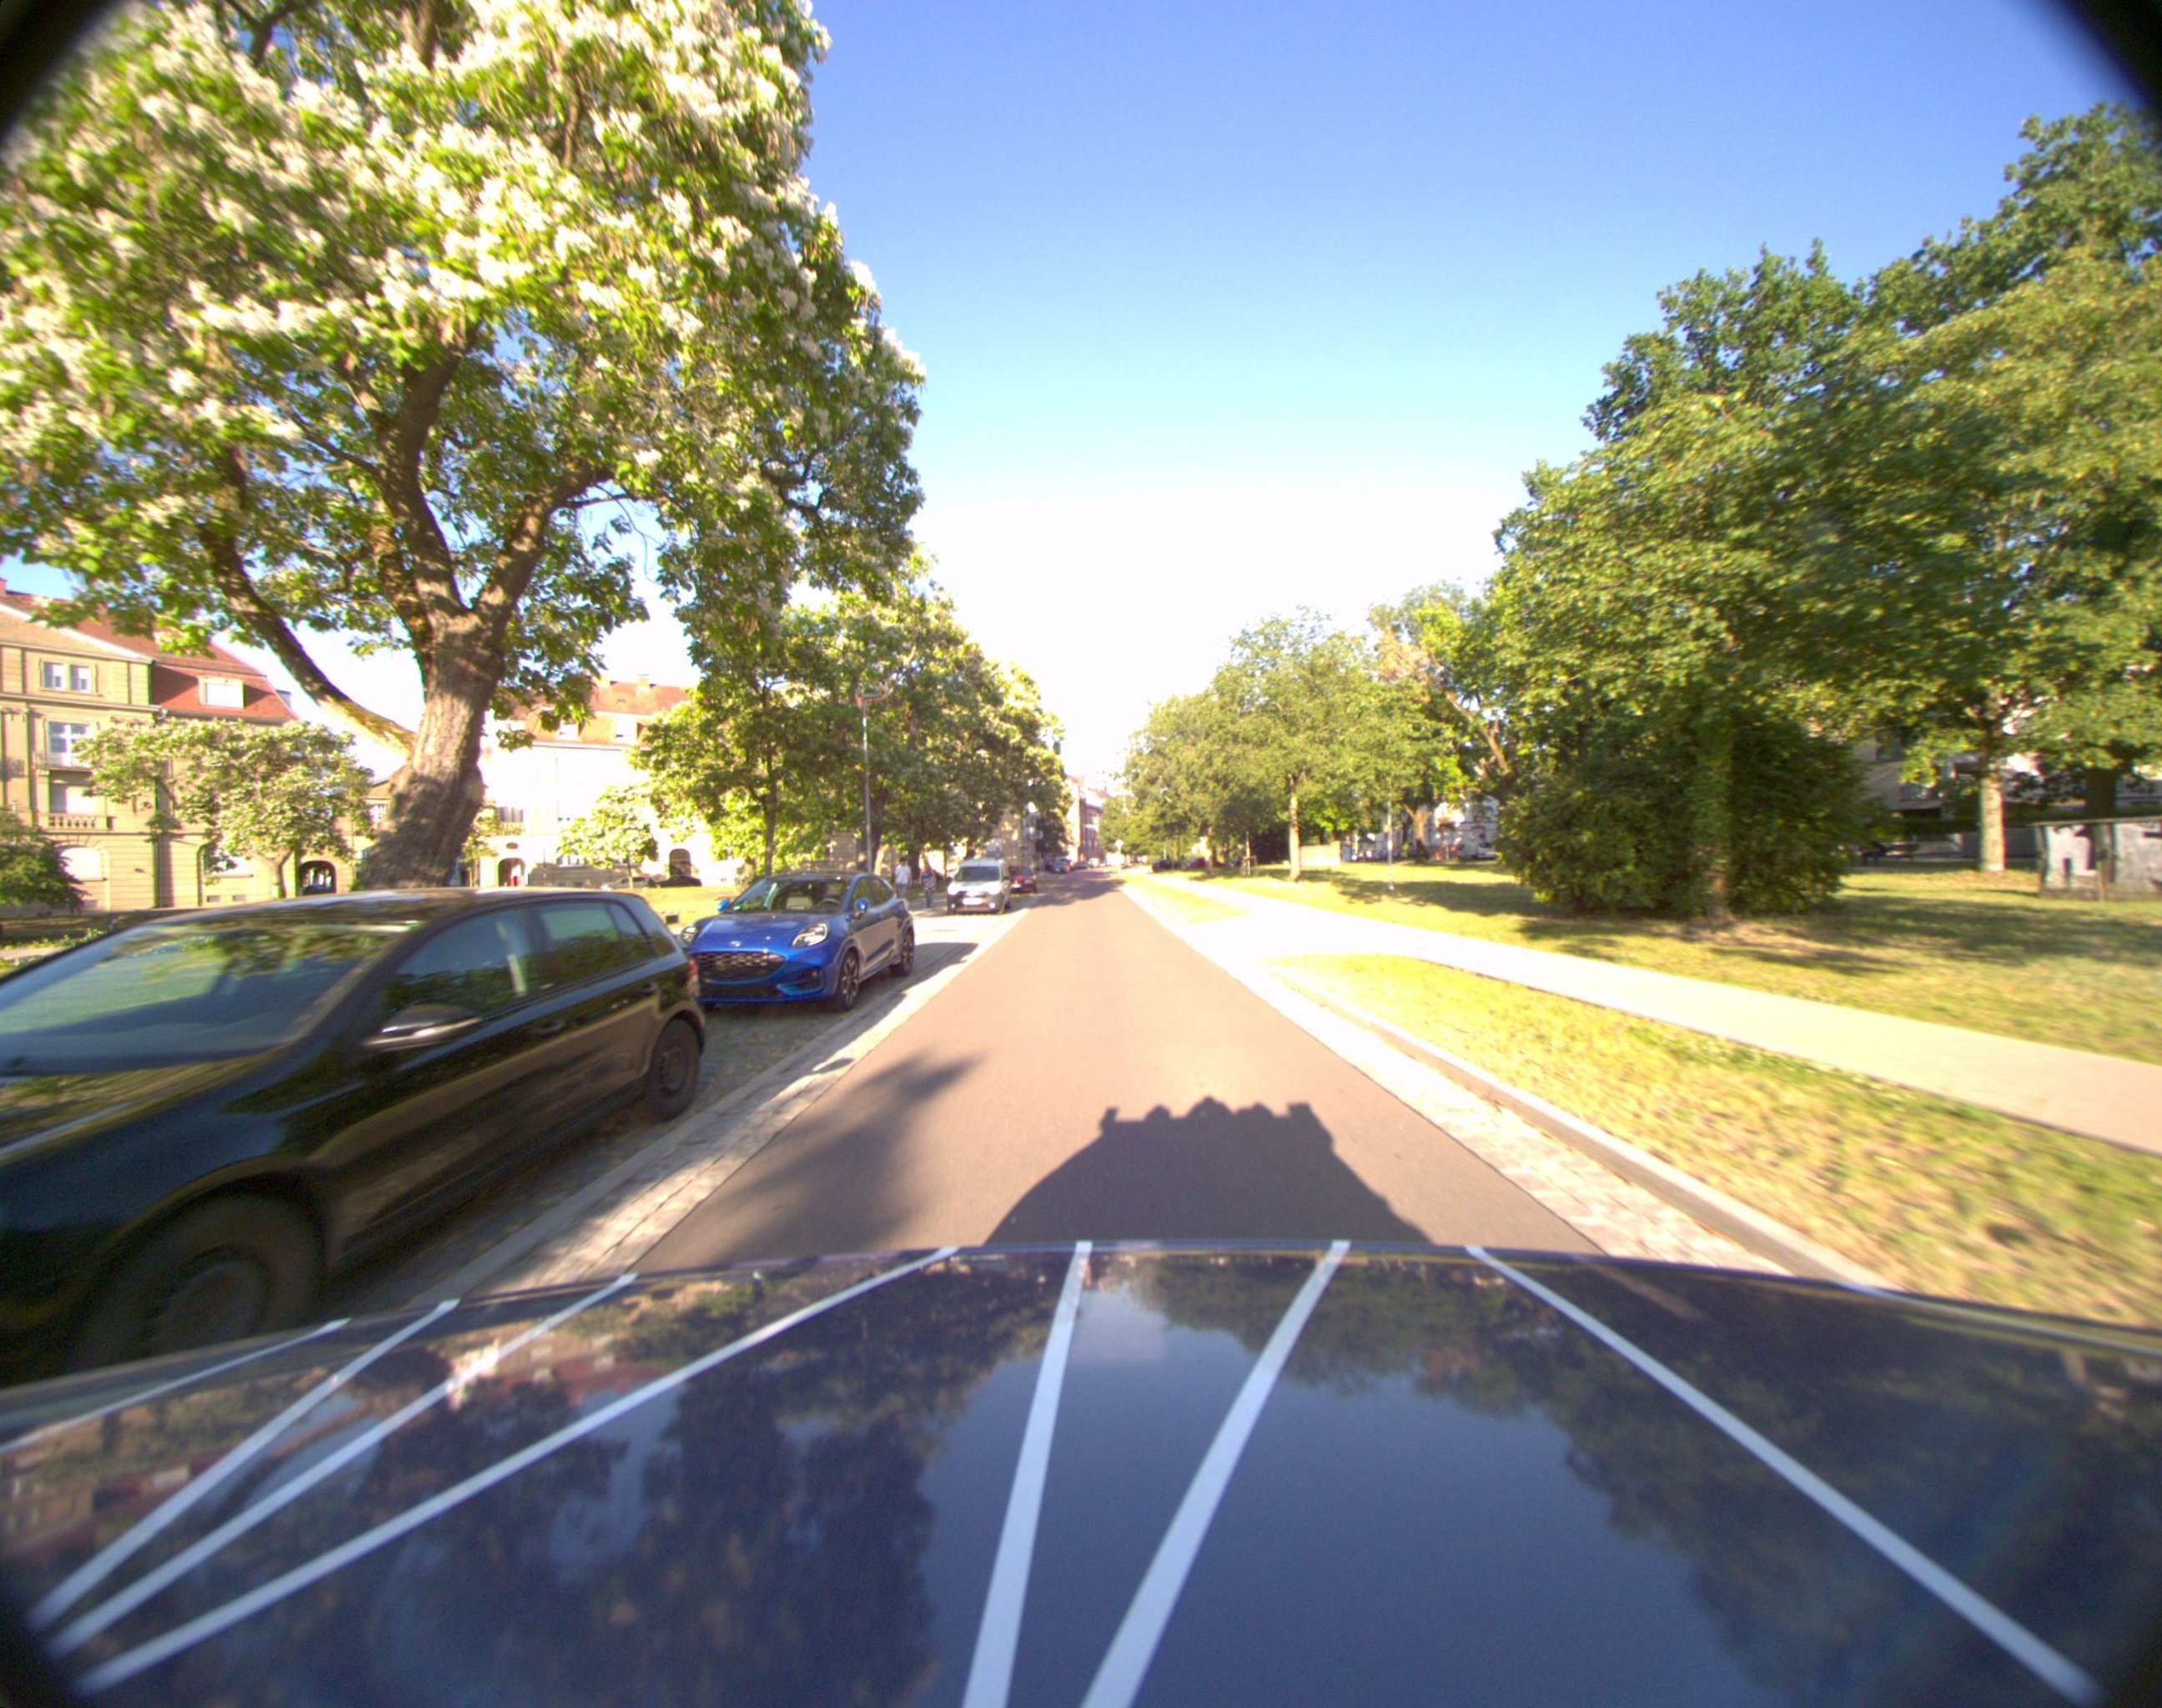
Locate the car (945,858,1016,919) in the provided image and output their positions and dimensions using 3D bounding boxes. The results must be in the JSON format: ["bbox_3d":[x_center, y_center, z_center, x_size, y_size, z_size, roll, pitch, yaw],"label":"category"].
[{"bbox_3d":[-3.191,1.051,24.901,1.682,1.730,4.513,-2,0,0],"label":"car"}]

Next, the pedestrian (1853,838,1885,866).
[{"bbox_3d":[28.290,-0.075,27.278,0.549,0.981,0.610,-1,1,11],"label":"pedestrian"}]

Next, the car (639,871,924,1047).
[{"bbox_3d":[-3.336,1.065,9.481,1.736,1.542,4.275,-2,0,1],"label":"car"}]

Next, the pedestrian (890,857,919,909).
[{"bbox_3d":[-6.056,0.972,26.109,0.727,1.726,0.732,-3,0,1],"label":"pedestrian"}]

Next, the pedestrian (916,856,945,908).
[{"bbox_3d":[-5.154,0.958,26.124,0.755,1.726,0.732,-3,0,1],"label":"pedestrian"}]

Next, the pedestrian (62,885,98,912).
[{"bbox_3d":[-55.994,2.471,42.503,0.682,1.466,0.950,-2,1,3],"label":"pedestrian"}]

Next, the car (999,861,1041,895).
[{"bbox_3d":[-3.042,1.171,38.785,1.682,1.477,4.809,-2,0,0],"label":"car"}]

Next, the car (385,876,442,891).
[{"bbox_3d":[-73.235,3.256,83.421,1.814,1.409,4.380,-1,1,35],"label":"car"}]

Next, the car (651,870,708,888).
[{"bbox_3d":[-38.255,2.359,72.426,4.657,1.409,1.815,-2,1,-31],"label":"car"}]

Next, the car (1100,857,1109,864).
[{"bbox_3d":[5.471,1.506,174.999,1.582,1.499,3.848,-2,0,7],"label":"car"}]

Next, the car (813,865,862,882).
[{"bbox_3d":[-23.223,1.816,72.349,4.371,1.409,1.842,-2,1,-20],"label":"car"}]

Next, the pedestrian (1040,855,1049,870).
[{"bbox_3d":[-4.482,1.048,93.162,0.733,1.819,0.555,-3,0,-35],"label":"pedestrian"}]

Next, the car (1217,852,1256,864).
[{"bbox_3d":[18.880,0.468,92.037,4.281,1.392,1.836,-2,1,-22],"label":"car"}]

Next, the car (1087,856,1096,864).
[{"bbox_3d":[2.162,1.224,153.505,1.509,1.437,3.731,-2,0,6],"label":"car"}]

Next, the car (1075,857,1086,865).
[{"bbox_3d":[-0.039,1.206,137.740,1.610,1.349,3.549,-2,0,6],"label":"car"}]

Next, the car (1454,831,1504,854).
[{"bbox_3d":[40.077,-1.152,76.602,2.675,2.101,4.971,-3,0,5],"label":"car"}]

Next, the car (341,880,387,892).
[{"bbox_3d":[-98.656,4.323,104.540,1.814,1.409,4.380,-1,1,41],"label":"car"}]

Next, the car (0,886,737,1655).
[{"bbox_3d":[-3.335,1.040,3.228,1.736,1.542,4.421,-2,0,-1],"label":"car"}]

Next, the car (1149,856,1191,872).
[{"bbox_3d":[9.601,1.073,82.118,4.004,1.565,1.887,-3,2,-24],"label":"car"}]

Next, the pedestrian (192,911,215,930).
[{"bbox_3d":[-43.327,3.290,37.522,0.576,0.876,0.678,-2,1,38],"label":"pedestrian"}]

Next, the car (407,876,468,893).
[{"bbox_3d":[-65.408,3.078,77.282,1.814,1.409,4.380,-1,1,35],"label":"car"}]

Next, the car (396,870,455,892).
[{"bbox_3d":[-70.156,2.840,81.380,1.814,2.096,4.380,-1,1,38],"label":"car"}]

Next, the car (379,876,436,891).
[{"bbox_3d":[-75.246,3.302,84.916,1.814,1.409,4.380,-1,1,35],"label":"car"}]

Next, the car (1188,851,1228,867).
[{"bbox_3d":[14.004,0.578,83.757,4.004,1.565,1.887,-3,2,-24],"label":"car"}]

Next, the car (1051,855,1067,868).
[{"bbox_3d":[-2.666,0.937,92.235,1.707,1.616,4.349,0,-1,0],"label":"car"}]

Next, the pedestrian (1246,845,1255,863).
[{"bbox_3d":[16.433,-0.011,73.846,0.663,1.686,0.672,-4,0,2],"label":"pedestrian"}]

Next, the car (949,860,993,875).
[{"bbox_3d":[-11.660,1.425,80.413,4.452,1.410,1.935,-2,1,-5],"label":"car"}]

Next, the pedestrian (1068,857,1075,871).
[{"bbox_3d":[-1.138,1.218,93.250,0.778,1.759,0.955,-3,0,1],"label":"pedestrian"}]

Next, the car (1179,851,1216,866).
[{"bbox_3d":[13.820,0.569,90.044,3.851,1.622,1.836,-2,1,-23],"label":"car"}]

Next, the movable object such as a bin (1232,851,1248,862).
[{"bbox_3d":[15.453,0.258,73.927,1.332,0.984,0.950,-2,1,3],"label":"movable object such as a bin"}]

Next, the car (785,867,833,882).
[{"bbox_3d":[-27.608,2.040,77.106,4.458,1.316,1.502,-2,1,-22],"label":"car"}]

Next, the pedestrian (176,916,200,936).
[{"bbox_3d":[-42.874,3.464,36.481,0.576,0.876,0.678,-2,1,38],"label":"pedestrian"}]

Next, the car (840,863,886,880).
[{"bbox_3d":[-22.582,1.773,78.654,4.456,1.590,1.800,-2,1,-17],"label":"car"}]

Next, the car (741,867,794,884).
[{"bbox_3d":[-28.884,1.986,70.160,4.443,1.409,1.564,-2,1,-23],"label":"car"}]

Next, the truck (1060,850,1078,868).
[{"bbox_3d":[-1.730,0.700,114.326,2.133,2.549,6.877,-2,0,3],"label":"truck"}]

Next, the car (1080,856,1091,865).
[{"bbox_3d":[0.774,1.134,143.208,1.610,1.608,3.952,-2,0,6],"label":"car"}]

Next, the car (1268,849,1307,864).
[{"bbox_3d":[23.653,0.298,86.996,4.003,1.565,1.887,-2,2,-20],"label":"car"}]

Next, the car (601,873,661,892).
[{"bbox_3d":[-38.603,2.413,65.284,4.378,1.409,1.815,-2,1,-29],"label":"car"}]
